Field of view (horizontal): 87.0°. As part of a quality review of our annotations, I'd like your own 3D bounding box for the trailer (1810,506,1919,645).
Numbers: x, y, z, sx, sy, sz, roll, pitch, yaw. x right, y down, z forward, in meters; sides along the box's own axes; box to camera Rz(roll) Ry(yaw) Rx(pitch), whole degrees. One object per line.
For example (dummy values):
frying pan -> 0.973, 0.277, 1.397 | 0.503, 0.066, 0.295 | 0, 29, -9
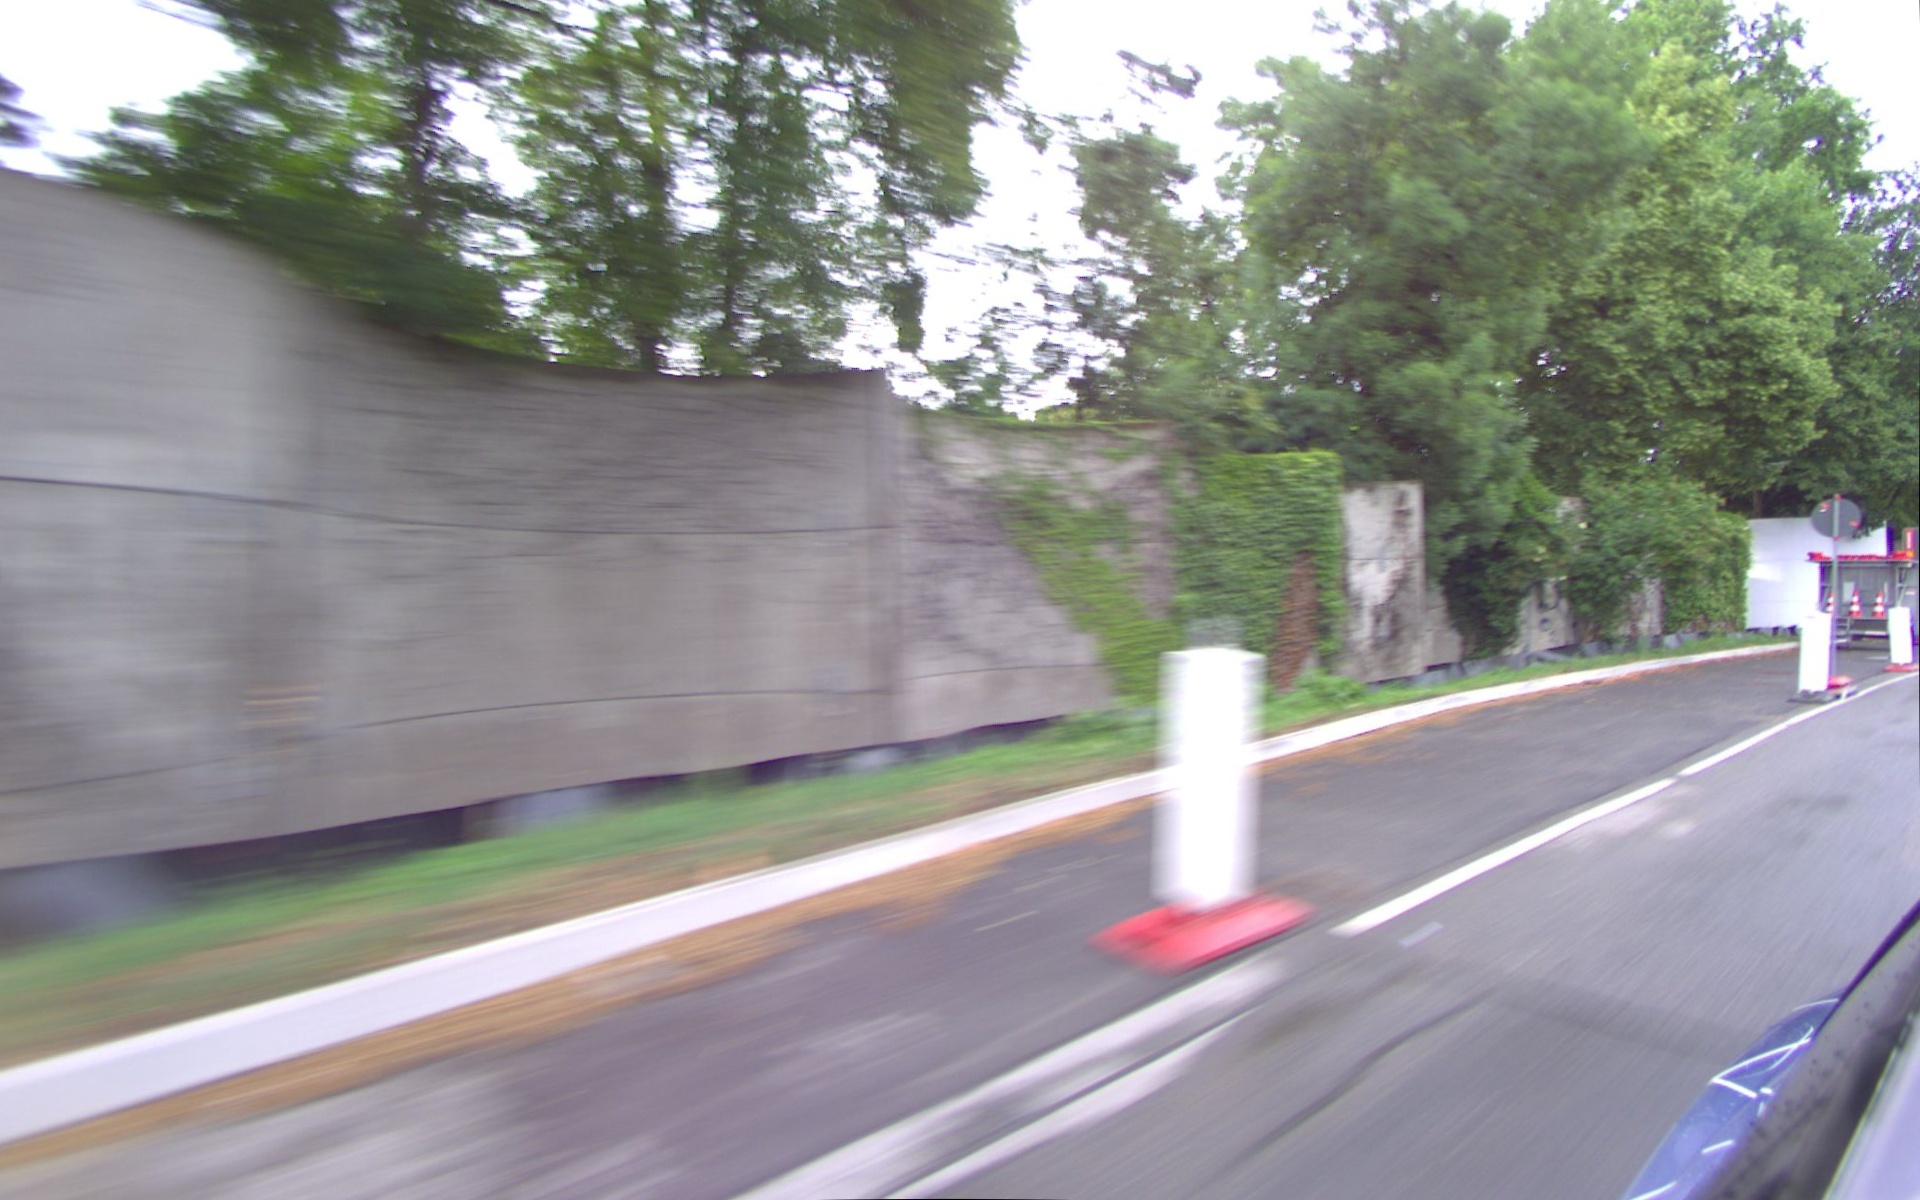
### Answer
trailer -> 26.872, -0.699, 29.029 | 5.845, 3.634, 2.316 | -1, 1, -34
